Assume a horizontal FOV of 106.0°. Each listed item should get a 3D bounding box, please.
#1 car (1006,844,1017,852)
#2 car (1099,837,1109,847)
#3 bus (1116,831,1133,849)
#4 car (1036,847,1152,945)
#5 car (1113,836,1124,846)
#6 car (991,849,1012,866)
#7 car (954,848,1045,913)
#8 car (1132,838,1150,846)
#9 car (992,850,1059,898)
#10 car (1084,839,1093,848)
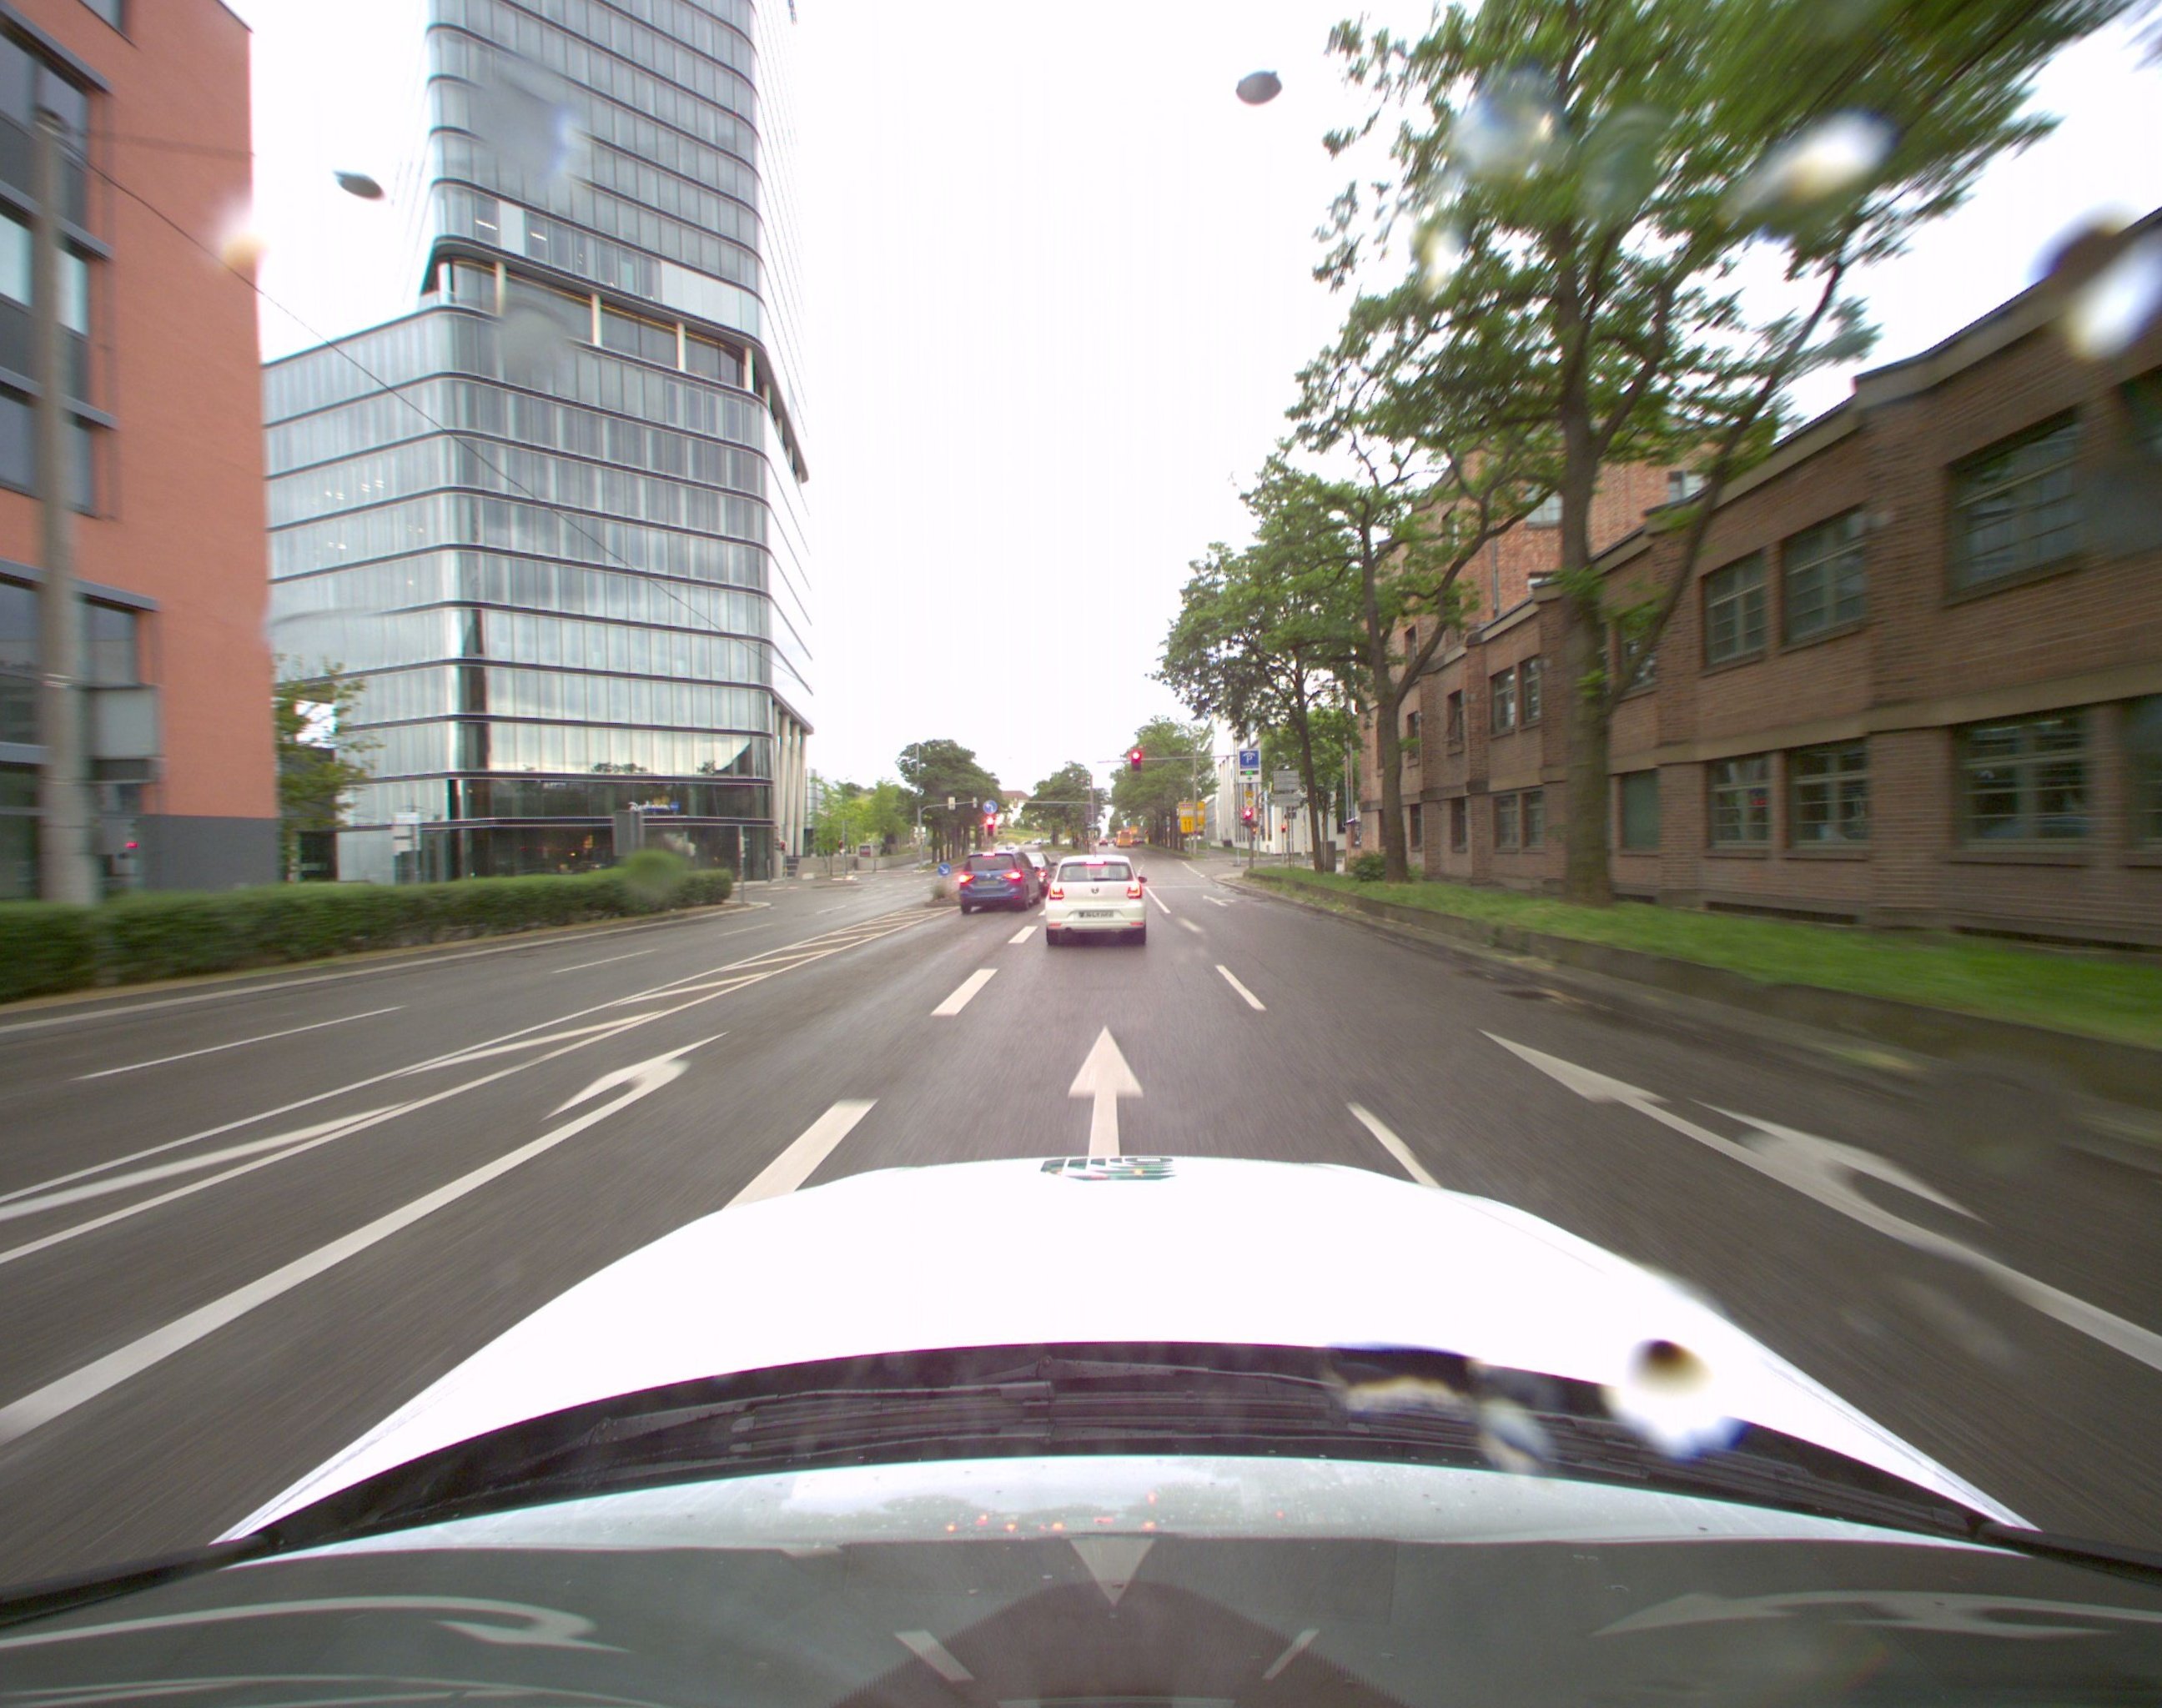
[{"bbox_3d":[-13.016,-1.106,152.617,1.810,1.411,4.652,-3,1,-2],"label":"car"},{"bbox_3d":[4.759,-2.494,170.182,1.987,2.013,4.000,-2,0,1],"label":"car"},{"bbox_3d":[8.235,-2.751,156.055,2.818,3.266,10.002,-1,1,1],"label":"bus"},{"bbox_3d":[0.264,0.648,14.736,1.787,1.502,4.002,-1,0,2],"label":"car"},{"bbox_3d":[7.860,-2.615,170.290,1.987,2.013,4.000,-2,0,1],"label":"car"},{"bbox_3d":[-7.702,0.324,79.623,1.746,1.520,3.814,-3,1,-2],"label":"car"},{"bbox_3d":[-2.172,0.660,22.879,1.764,1.596,4.202,-2,0,4],"label":"car"},{"bbox_3d":[12.537,-2.493,169.872,3.850,1.515,1.679,-2,0,-44],"label":"car"},{"bbox_3d":[-1.918,0.654,29.209,1.839,1.510,4.052,-3,0,3],"label":"car"},{"bbox_3d":[1.595,-2.271,171.822,1.789,1.741,3.999,-3,1,0],"label":"car"}]
